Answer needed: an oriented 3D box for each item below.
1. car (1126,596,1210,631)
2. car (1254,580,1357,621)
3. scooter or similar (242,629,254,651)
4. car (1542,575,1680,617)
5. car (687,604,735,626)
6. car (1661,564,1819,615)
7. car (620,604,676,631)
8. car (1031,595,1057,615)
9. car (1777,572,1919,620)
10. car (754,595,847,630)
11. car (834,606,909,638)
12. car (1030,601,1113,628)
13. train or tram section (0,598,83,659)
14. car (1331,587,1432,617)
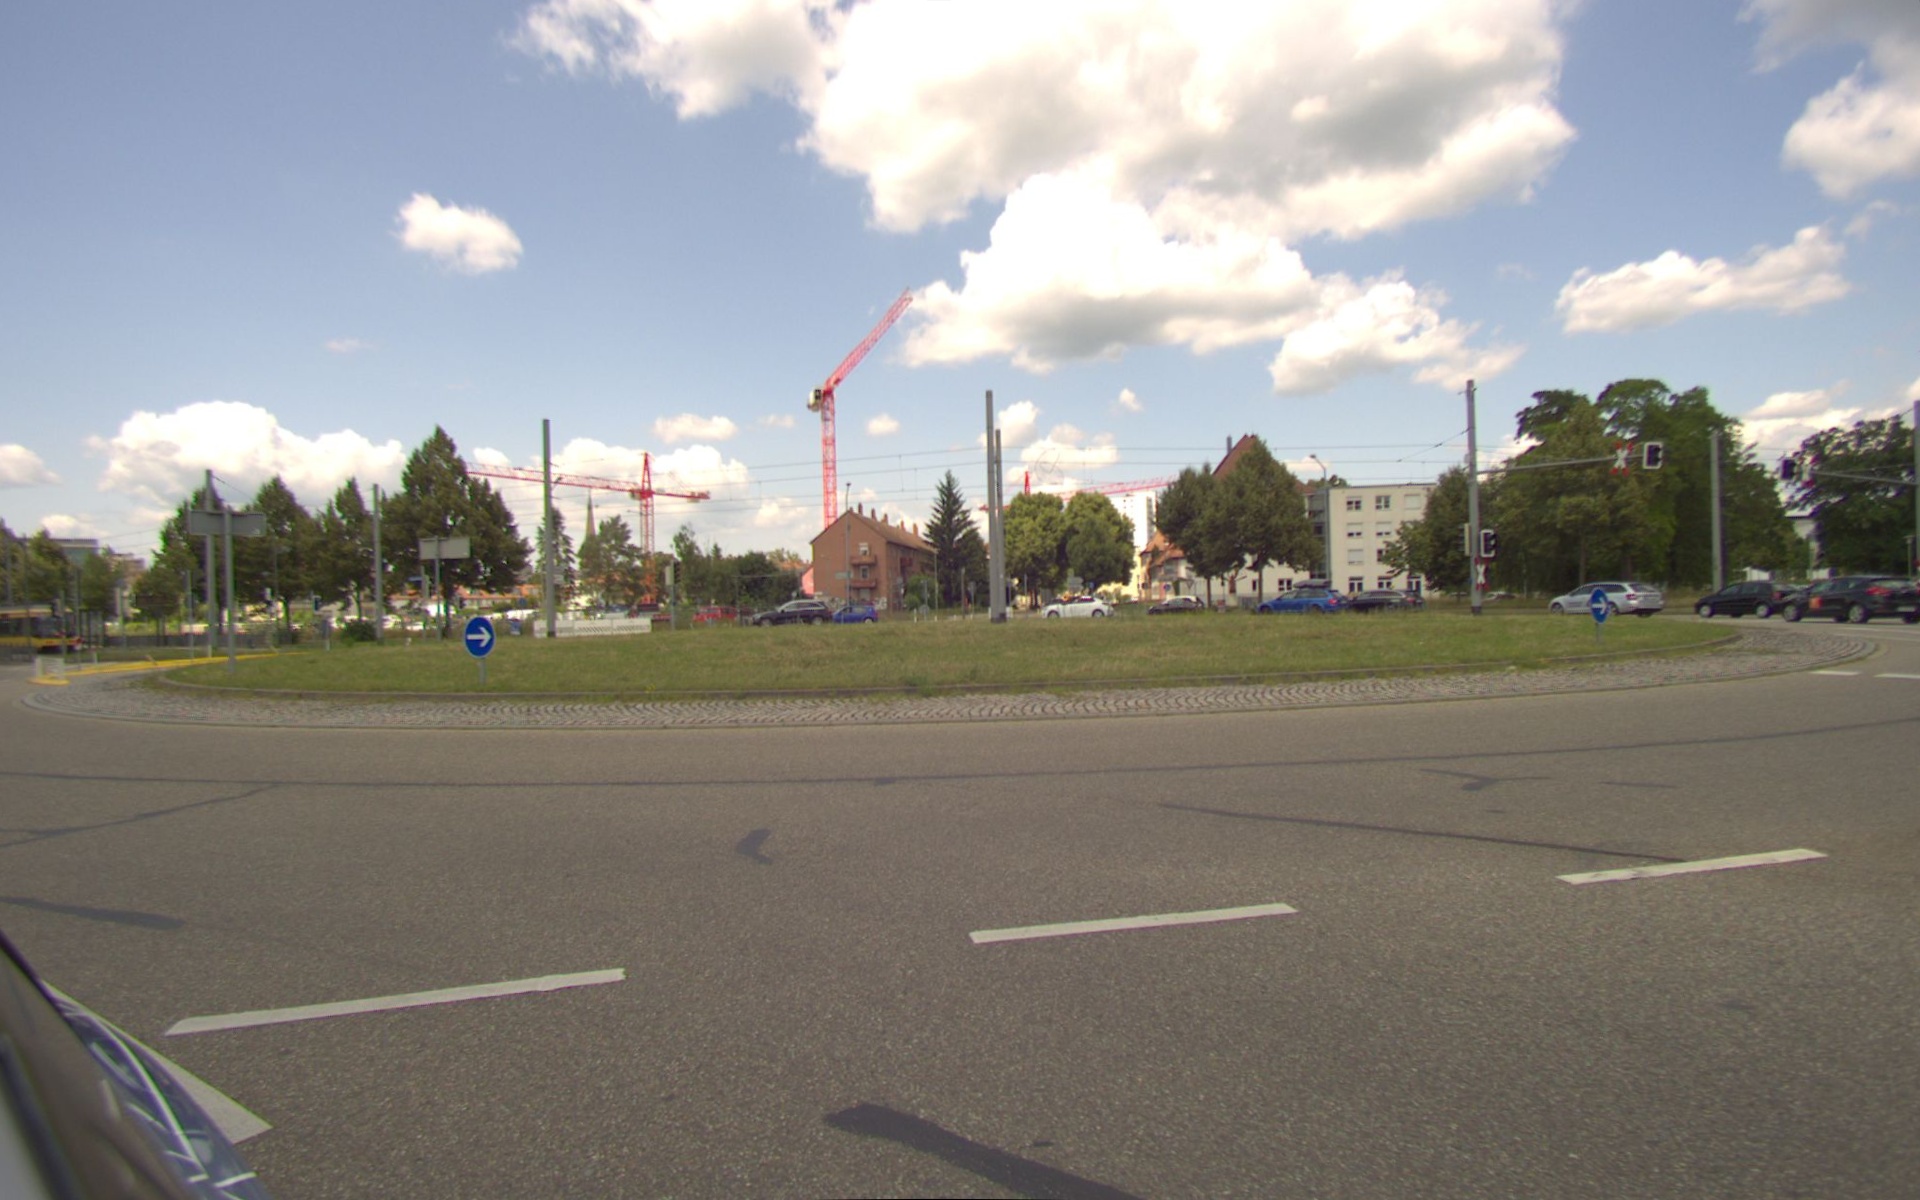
[{"bbox_3d":[13.010,0.850,63.423,4.712,2.029,1.978,-3,-1,33],"label":"car"},{"bbox_3d":[16.875,0.063,49.611,1.730,1.812,4.410,-2,-1,-45],"label":"car"},{"bbox_3d":[-43.979,2.475,62.491,0.413,1.311,1.347,-2,2,-42],"label":"scooter or similar"},{"bbox_3d":[26.355,-0.117,41.182,2.089,1.533,4.518,-2,0,-13],"label":"car"},{"bbox_3d":[-23.454,1.446,95.387,2.057,1.866,5.189,-2,-1,-43],"label":"car"},{"bbox_3d":[31.074,-0.362,40.531,2.090,1.834,4.674,-2,0,-13],"label":"car"},{"bbox_3d":[-27.851,1.582,90.080,2.357,2.214,6.850,-2,0,-39],"label":"car"},{"bbox_3d":[7.890,0.471,95.857,2.038,1.638,4.942,-4,0,1],"label":"car"},{"bbox_3d":[27.383,-0.086,30.975,1.781,1.350,3.972,-1,-1,6],"label":"car"},{"bbox_3d":[-9.010,0.707,57.023,4.988,1.687,2.004,-2,0,-11],"label":"car"},{"bbox_3d":[-5.711,1.406,65.198,4.653,1.804,1.851,-2,-1,-5],"label":"car"},{"bbox_3d":[6.262,0.809,56.677,4.279,1.339,1.987,-2,0,20],"label":"car"},{"bbox_3d":[-64.753,2.050,68.909,13.408,3.768,2.826,-2,-1,27],"label":"train or tram section"},{"bbox_3d":[21.563,0.127,51.917,1.921,1.333,4.504,-2,-1,-31],"label":"car"}]
